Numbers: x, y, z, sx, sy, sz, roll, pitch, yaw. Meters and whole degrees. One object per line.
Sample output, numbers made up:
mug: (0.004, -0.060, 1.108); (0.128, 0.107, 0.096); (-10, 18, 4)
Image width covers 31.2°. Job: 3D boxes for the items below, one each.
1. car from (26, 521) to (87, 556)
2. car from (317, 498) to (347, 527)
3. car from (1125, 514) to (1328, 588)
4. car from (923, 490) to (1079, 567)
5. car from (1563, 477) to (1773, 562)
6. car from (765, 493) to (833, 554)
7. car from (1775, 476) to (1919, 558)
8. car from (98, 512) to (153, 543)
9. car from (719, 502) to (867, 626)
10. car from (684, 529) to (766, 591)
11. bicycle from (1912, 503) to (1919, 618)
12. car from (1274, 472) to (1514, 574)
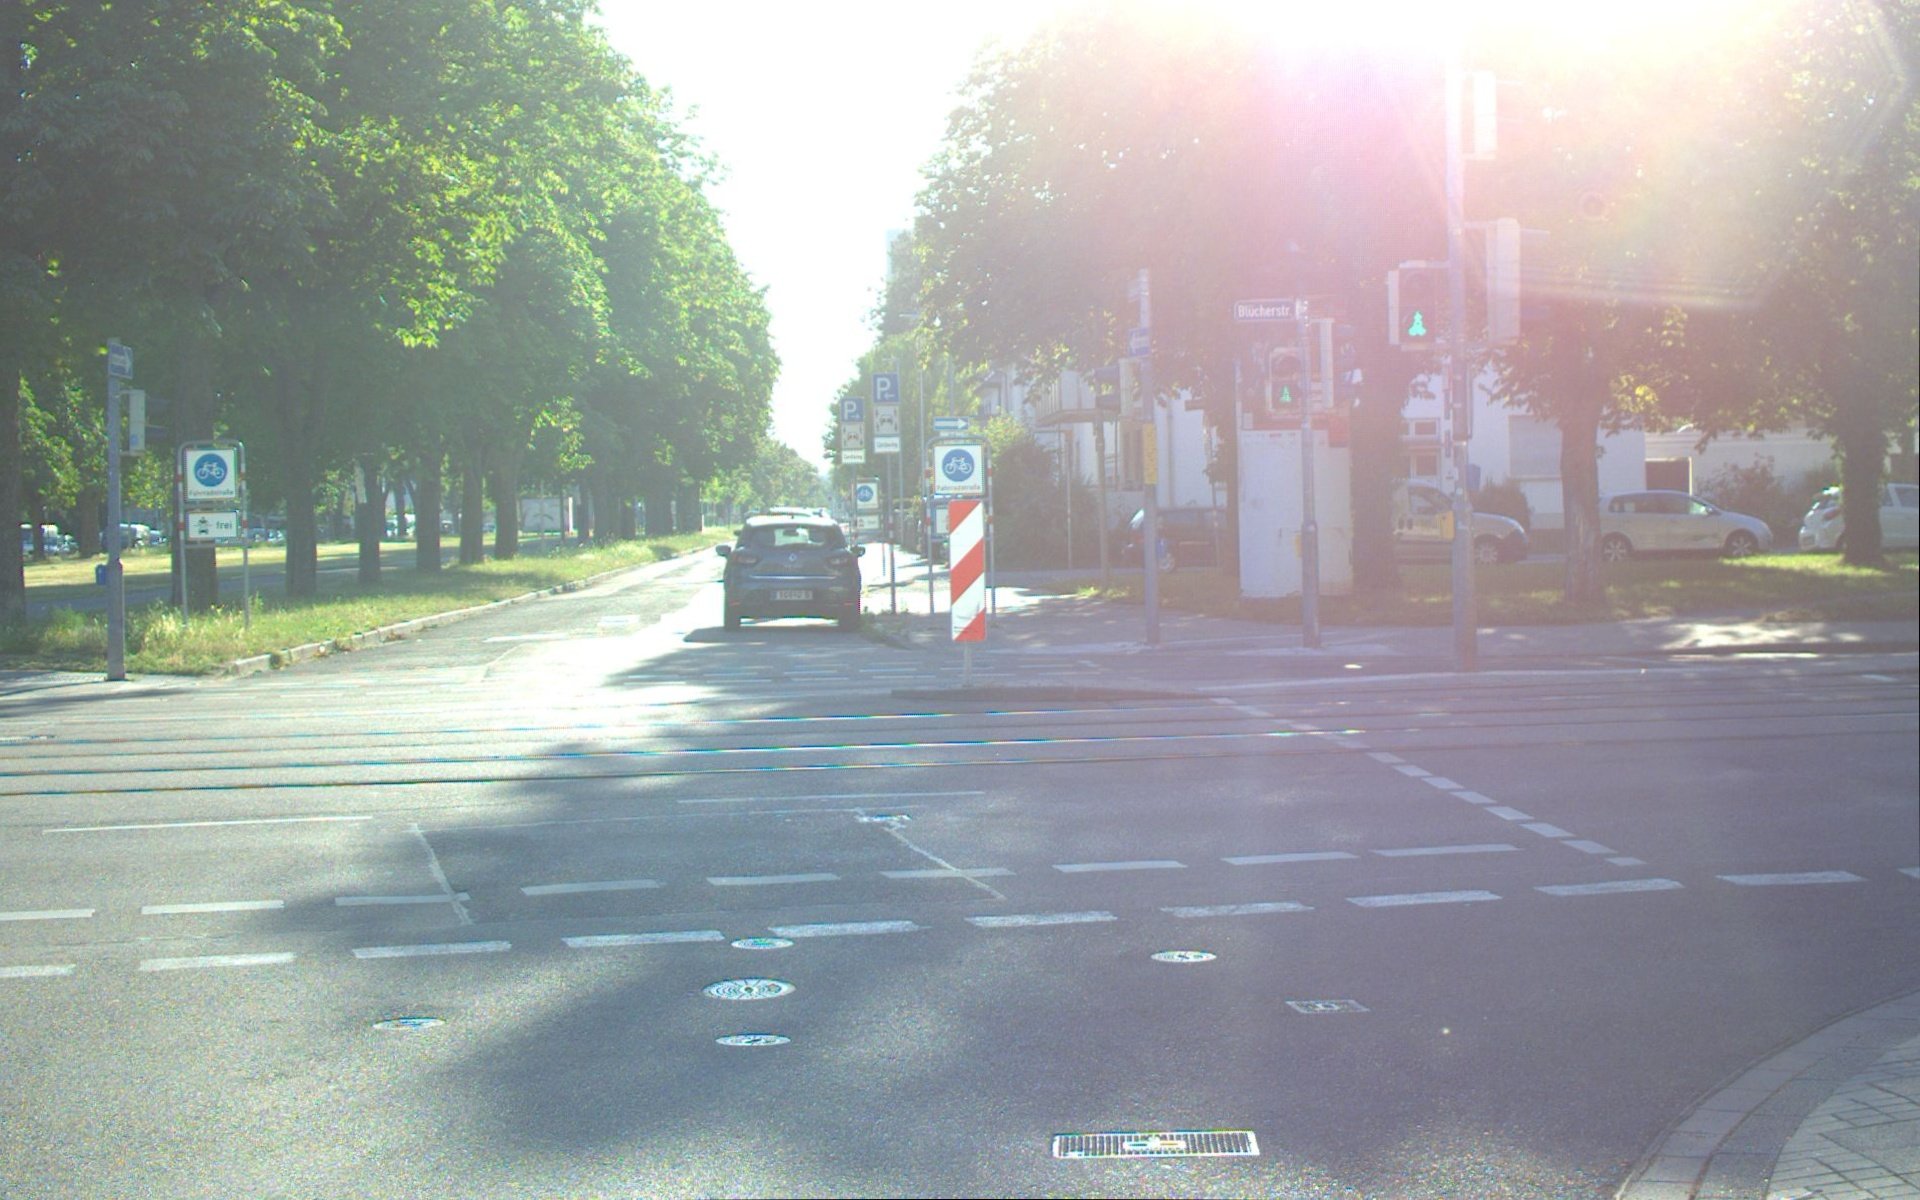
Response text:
car: (-44.001, -3.004, 167.547); (2.022, 1.653, 3.984); (1, 1, -2)
car: (-46.387, -6.455, 253.967); (1.654, 1.932, 3.568); (1, -1, -3)
car: (5.469, -1.007, 70.834); (3.986, 1.442, 1.716); (-1, 1, -2)
car: (1.109, -1.937, 93.479); (3.986, 1.816, 1.760); (-2, -4, -6)
car: (13.412, -1.521, 65.232); (3.552, 1.510, 1.606); (-1, 1, -8)
car: (-4.864, -2.319, 103.725); (1.993, 1.775, 4.001); (1, 2, -3)
car: (17.795, -1.586, 65.919); (3.920, 1.518, 1.524); (0, 0, -7)
car: (-45.421, -3.946, 187.199); (1.993, 1.653, 4.571); (-1, 1, -3)
car: (-2.120, -0.469, 44.575); (1.725, 1.506, 4.541); (1, 1, -1)
car: (-5.325, -0.911, 78.256); (1.709, 1.355, 4.203); (1, 1, -2)
bicycle: (9.966, -0.394, 33.003); (1.522, 1.085, 0.467); (-1, 3, 8)
car: (8.237, -1.465, 65.545); (4.241, 1.868, 2.031); (-1, 1, -2)
